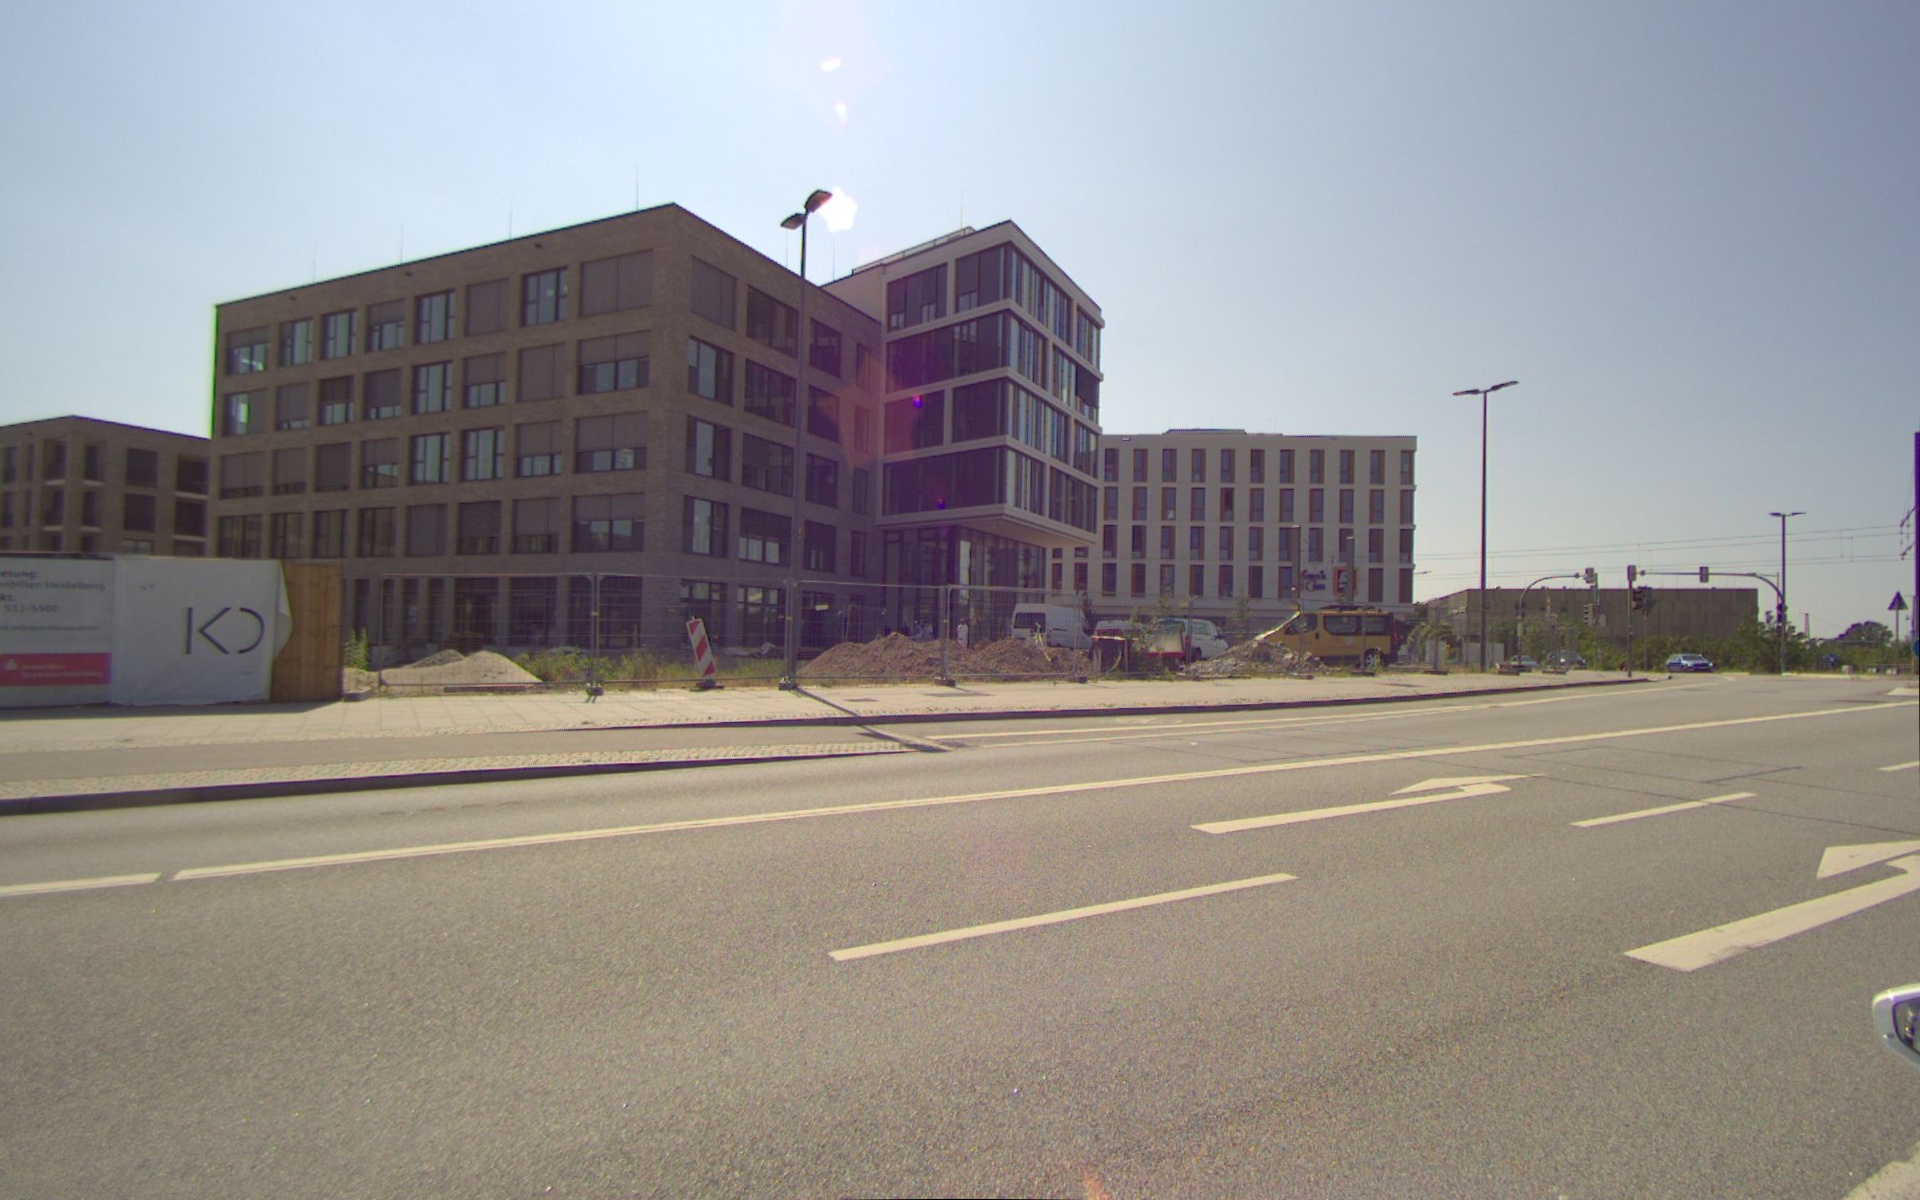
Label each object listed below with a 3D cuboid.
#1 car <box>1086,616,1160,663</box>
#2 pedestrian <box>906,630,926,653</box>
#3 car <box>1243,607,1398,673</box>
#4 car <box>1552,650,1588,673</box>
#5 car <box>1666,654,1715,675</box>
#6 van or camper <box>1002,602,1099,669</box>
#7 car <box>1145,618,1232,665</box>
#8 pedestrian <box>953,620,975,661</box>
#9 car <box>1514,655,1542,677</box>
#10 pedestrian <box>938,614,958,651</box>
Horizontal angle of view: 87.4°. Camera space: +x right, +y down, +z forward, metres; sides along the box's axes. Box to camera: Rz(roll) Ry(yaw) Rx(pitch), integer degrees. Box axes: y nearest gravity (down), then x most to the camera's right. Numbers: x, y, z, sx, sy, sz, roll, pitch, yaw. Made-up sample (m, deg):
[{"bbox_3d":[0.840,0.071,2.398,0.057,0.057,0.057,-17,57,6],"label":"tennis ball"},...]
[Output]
[{"bbox_3d":[7.130,1.690,43.692,1.760,1.881,3.841,2,0,33],"label":"car"},{"bbox_3d":[-2.087,1.969,47.421,0.734,1.041,0.699,2,0,16],"label":"pedestrian"},{"bbox_3d":[12.011,1.295,33.749,4.533,1.988,1.991,2,0,9],"label":"car"},{"bbox_3d":[44.418,4.457,73.205,1.646,1.496,3.405,0,-1,22],"label":"car"},{"bbox_3d":[52.249,4.569,71.880,1.787,1.348,4.000,2,-2,20],"label":"car"},{"bbox_3d":[4.133,1.551,45.068,2.273,2.772,4.975,2,0,32],"label":"van or camper"},{"bbox_3d":[9.653,1.690,42.193,1.841,1.797,4.637,2,0,36],"label":"car"},{"bbox_3d":[0.171,1.750,43.438,0.734,1.741,0.699,2,0,16],"label":"pedestrian"},{"bbox_3d":[47.141,5.425,83.421,1.541,1.608,3.477,2,0,23],"label":"car"},{"bbox_3d":[-0.580,1.579,49.031,0.734,1.741,0.699,2,0,16],"label":"pedestrian"}]
